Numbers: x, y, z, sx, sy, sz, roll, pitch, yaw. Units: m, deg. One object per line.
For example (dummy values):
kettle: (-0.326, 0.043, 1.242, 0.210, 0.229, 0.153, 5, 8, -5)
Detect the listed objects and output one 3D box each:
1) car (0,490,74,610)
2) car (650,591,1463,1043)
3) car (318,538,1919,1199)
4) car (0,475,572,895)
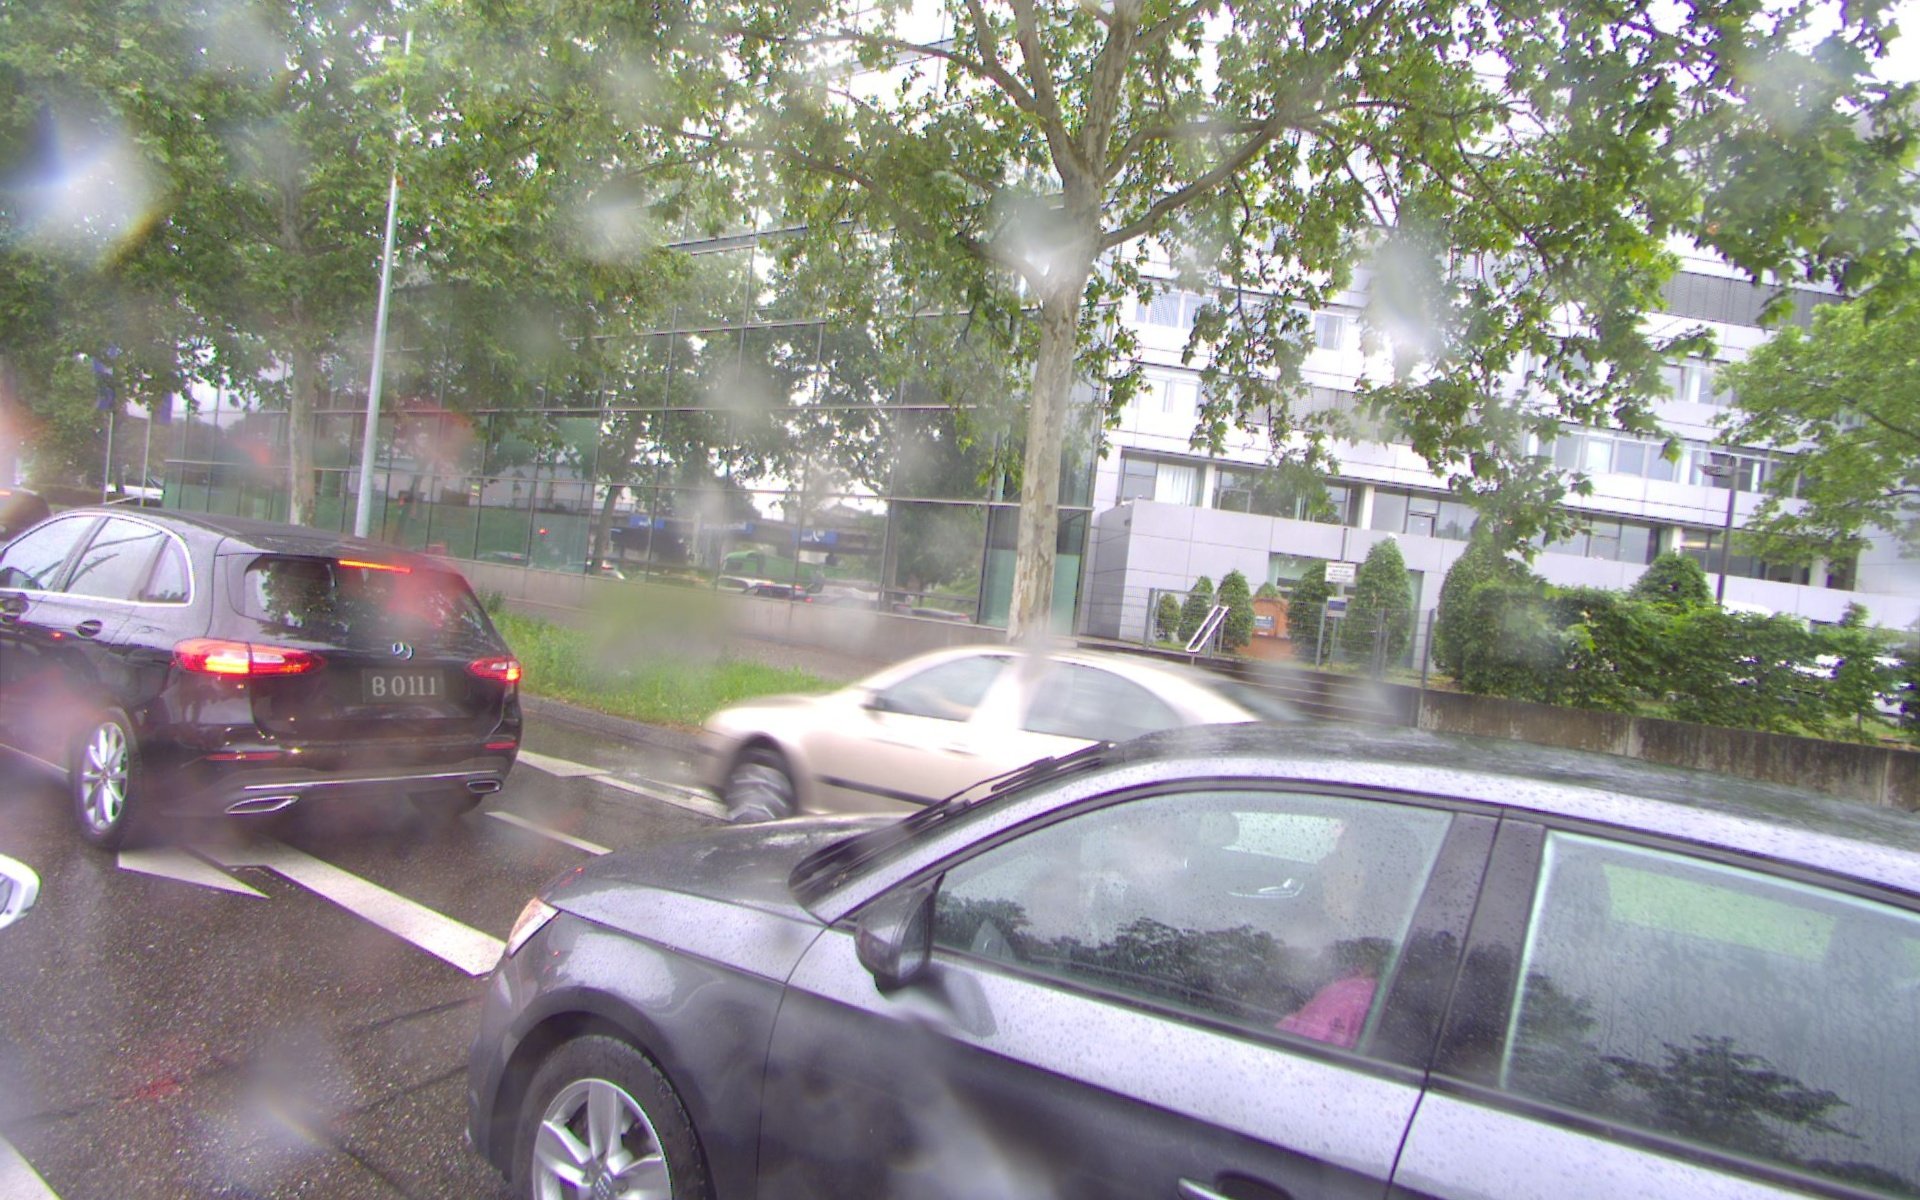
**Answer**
car: (-16.415, -0.981, 16.231, 4.120, 1.746, 1.860, 6, -1, 30)
car: (0.420, 0.931, 5.935, 4.314, 1.447, 1.805, 6, -1, 32)
car: (0.763, 0.861, 2.241, 3.932, 1.469, 1.998, 6, -2, 30)
car: (-4.317, 0.244, 5.724, 3.932, 1.568, 1.712, 8, 0, 30)
